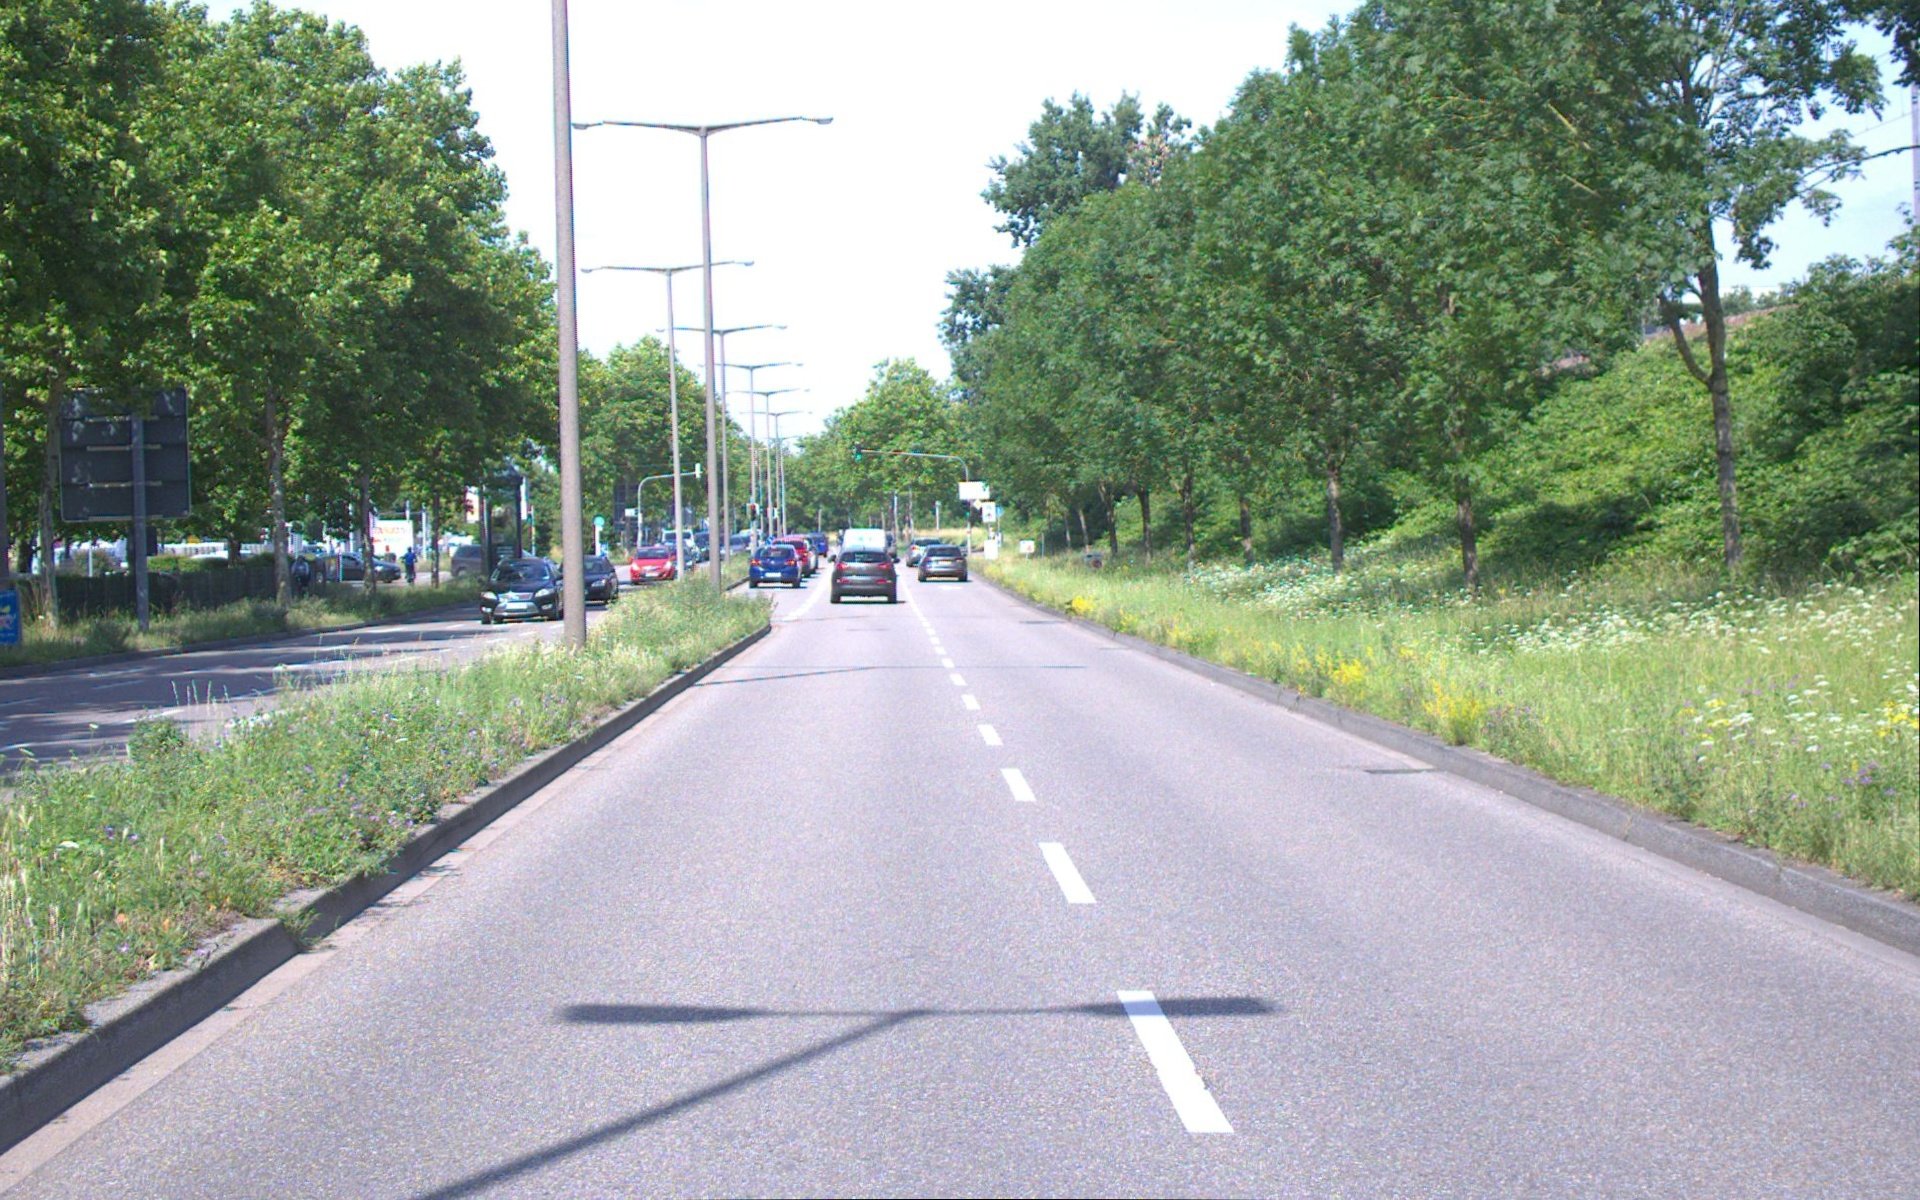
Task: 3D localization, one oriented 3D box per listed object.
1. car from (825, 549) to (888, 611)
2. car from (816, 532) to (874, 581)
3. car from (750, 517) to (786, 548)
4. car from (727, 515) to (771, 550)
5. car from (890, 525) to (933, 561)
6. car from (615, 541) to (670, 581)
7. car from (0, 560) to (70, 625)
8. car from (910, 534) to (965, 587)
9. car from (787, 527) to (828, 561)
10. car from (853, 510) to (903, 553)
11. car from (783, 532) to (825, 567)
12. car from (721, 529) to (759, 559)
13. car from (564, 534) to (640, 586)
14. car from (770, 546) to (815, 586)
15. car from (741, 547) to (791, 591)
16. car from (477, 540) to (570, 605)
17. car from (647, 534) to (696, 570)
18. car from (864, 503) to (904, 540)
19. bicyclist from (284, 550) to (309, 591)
[{"bbox_3d":[-2.924,-0.586,97.972,1.736,1.530,4.001,-1,3,-1],"label":"car"},{"bbox_3d":[-4.116,-1.567,123.213,1.993,1.678,4.001,-1,1,-2],"label":"car"},{"bbox_3d":[-11.774,-4.147,211.049,1.993,1.853,4.000,-1,1,0],"label":"car"},{"bbox_3d":[-10.571,-3.385,172.630,1.993,1.702,4.264,-1,1,-1],"label":"car"},{"bbox_3d":[-2.394,-2.794,168.447,1.993,1.702,4.264,-1,1,-1],"label":"car"},{"bbox_3d":[-12.413,-1.529,134.428,1.763,1.457,4.000,-2,1,-1],"label":"car"},{"bbox_3d":[-27.527,-0.196,97.482,3.987,1.816,2.156,0,0,3],"label":"car"},{"bbox_3d":[-0.872,-1.542,131.741,2.018,1.831,4.001,-1,3,-1],"label":"car"},{"bbox_3d":[-7.263,-2.670,163.601,1.881,1.612,4.213,-1,1,-2],"label":"car"},{"bbox_3d":[-3.412,-2.863,143.869,1.993,1.702,4.263,-1,1,-1],"label":"car"},{"bbox_3d":[-6.811,-2.226,150.108,1.766,1.474,4.136,0,1,-2],"label":"car"},{"bbox_3d":[-13.913,-3.538,217.453,1.993,1.769,4.000,-1,1,1],"label":"car"},{"bbox_3d":[-10.575,-1.187,101.711,1.772,1.462,4.671,-2,1,-1],"label":"car"},{"bbox_3d":[-6.840,-1.391,140.901,1.782,1.587,4.594,0,1,-2],"label":"car"},{"bbox_3d":[-6.721,-1.084,119.218,1.626,1.478,4.049,1,1,-2],"label":"car"},{"bbox_3d":[-10.446,-0.664,82.550,1.827,1.462,4.989,-1,1,-3],"label":"car"},{"bbox_3d":[-12.323,-2.038,147.113,1.839,1.473,4.166,-2,1,-2],"label":"car"},{"bbox_3d":[-4.320,-4.427,194.309,1.993,2.007,4.001,-1,1,-5],"label":"car"},{"bbox_3d":[-24.026,-1.070,124.496,0.681,1.480,0.942,-2,1,-1],"label":"bicyclist"}]
